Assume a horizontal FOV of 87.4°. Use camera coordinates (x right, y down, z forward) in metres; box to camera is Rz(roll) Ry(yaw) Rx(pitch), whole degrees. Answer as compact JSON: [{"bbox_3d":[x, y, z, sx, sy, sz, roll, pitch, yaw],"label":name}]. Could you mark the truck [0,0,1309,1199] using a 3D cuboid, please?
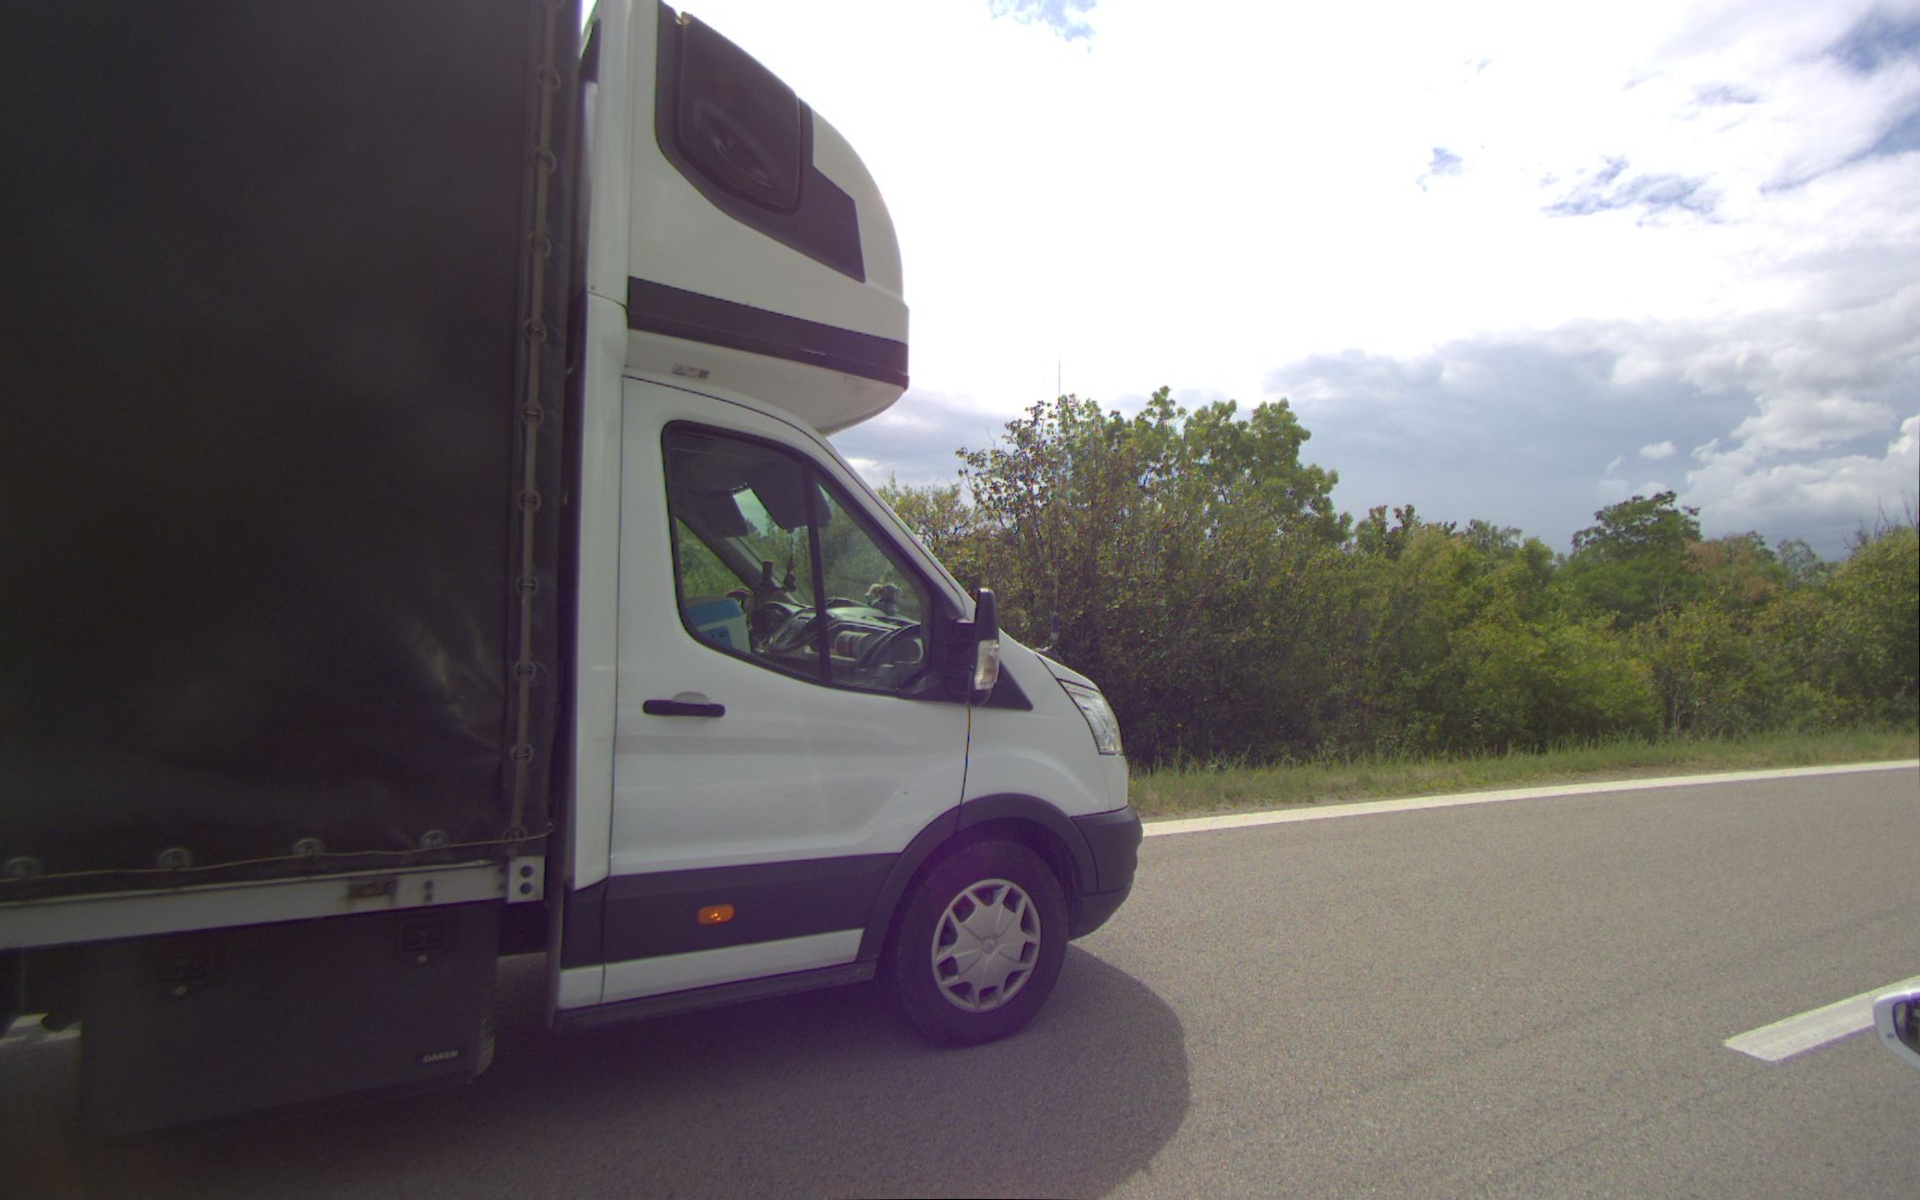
[{"bbox_3d":[-2.557,-0.204,2.779,7.385,3.210,2.546,2,0,-32],"label":"truck"}]
